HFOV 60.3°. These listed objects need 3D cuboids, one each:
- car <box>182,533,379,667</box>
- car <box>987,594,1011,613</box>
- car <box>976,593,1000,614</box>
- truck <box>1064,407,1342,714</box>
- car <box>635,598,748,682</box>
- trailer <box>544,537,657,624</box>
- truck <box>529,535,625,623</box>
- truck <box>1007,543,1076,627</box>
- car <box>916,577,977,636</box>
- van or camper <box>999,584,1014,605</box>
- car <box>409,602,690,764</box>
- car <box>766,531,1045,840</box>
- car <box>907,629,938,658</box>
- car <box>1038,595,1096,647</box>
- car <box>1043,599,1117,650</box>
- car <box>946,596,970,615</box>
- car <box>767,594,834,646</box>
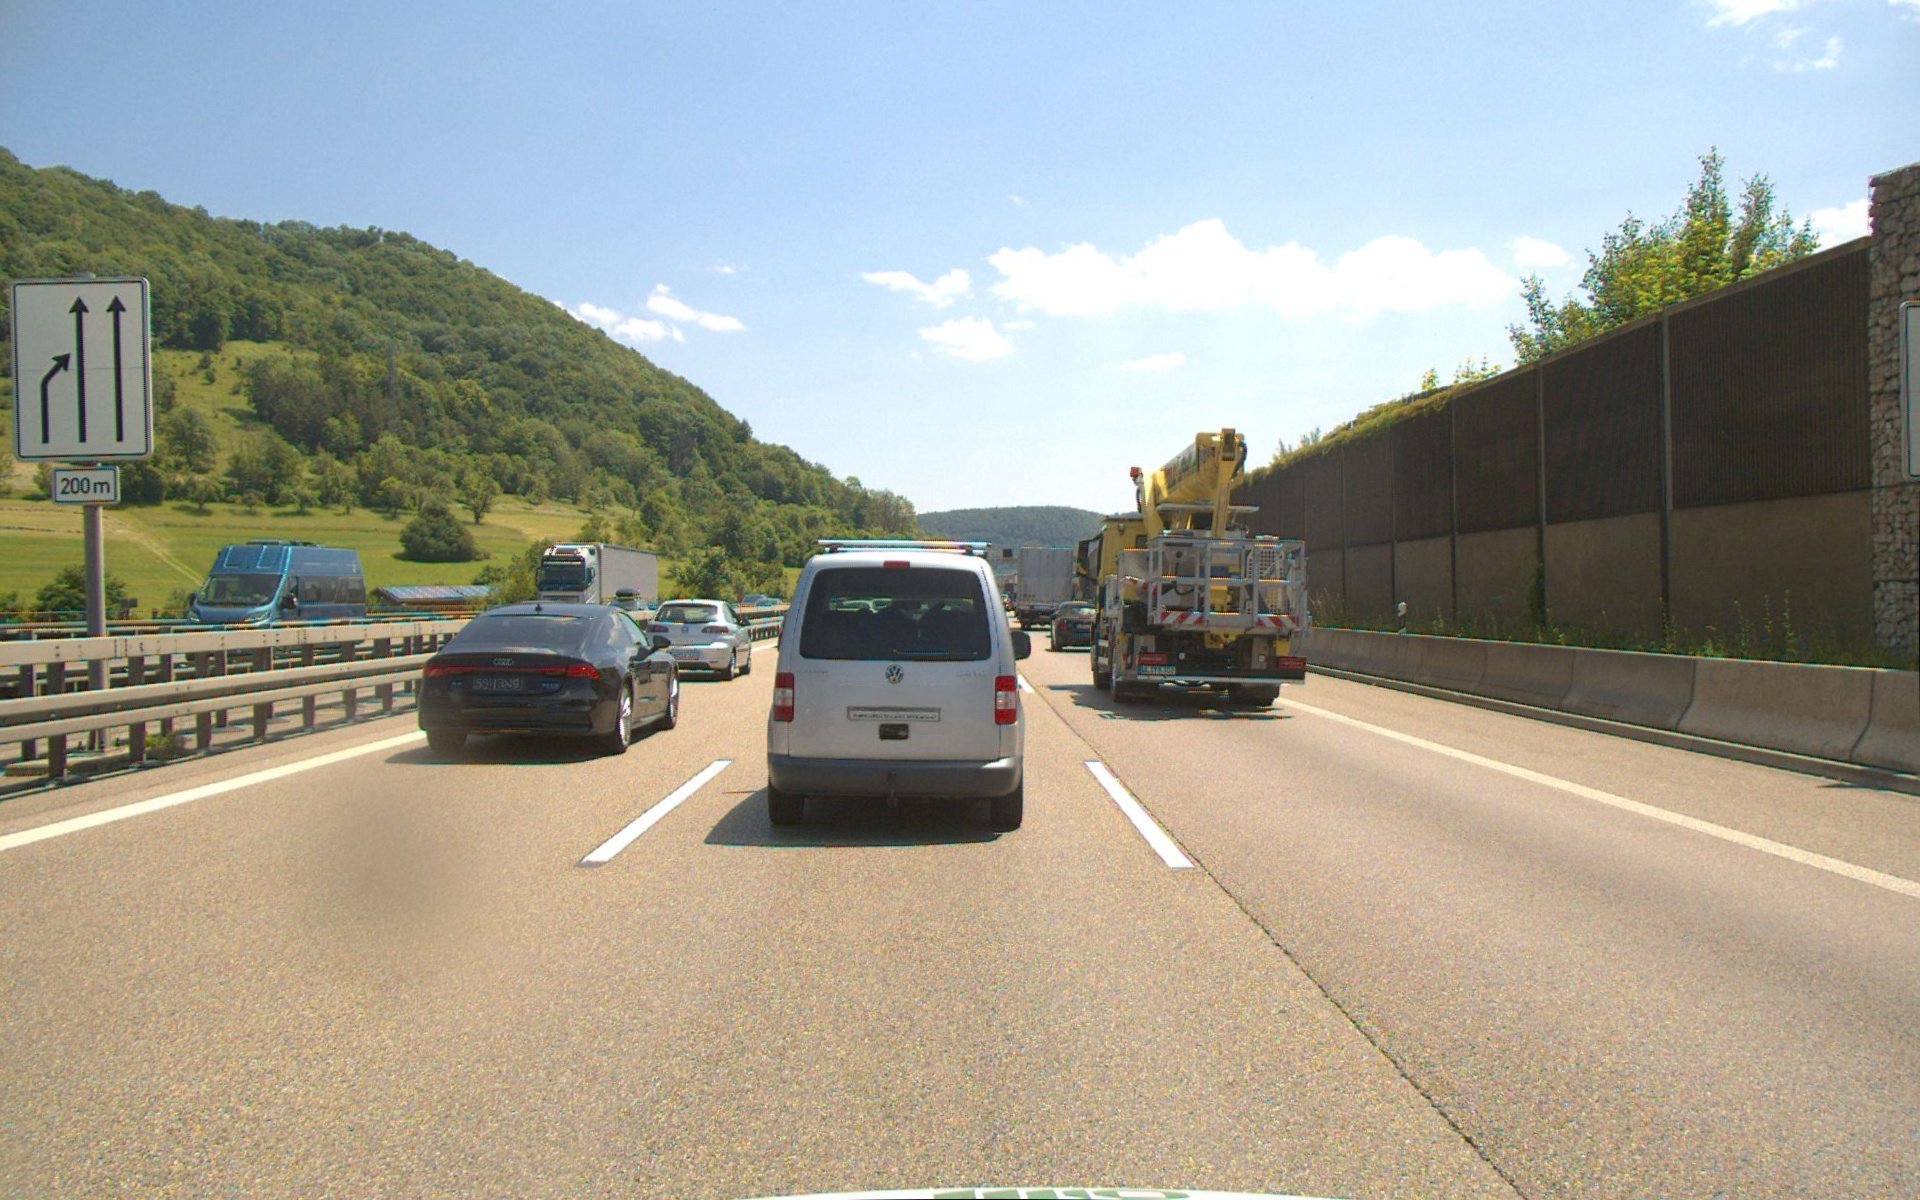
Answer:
[{"bbox_3d":[-16.087,0.033,39.631,2.112,2.912,6.397,1,-1,-1],"label":"car"},{"bbox_3d":[3.954,0.384,169.560,2.072,1.859,3.997,1,-1,-4],"label":"car"},{"bbox_3d":[2.415,0.310,141.997,1.953,1.779,3.999,1,-1,0],"label":"car"},{"bbox_3d":[3.470,-0.518,26.060,2.650,4.011,8.716,0,0,-3],"label":"truck"},{"bbox_3d":[-4.925,0.692,30.762,1.662,1.470,3.860,0,0,-3],"label":"car"},{"bbox_3d":[-19.093,-0.926,88.939,3.180,4.278,12.998,1,0,0],"label":"trailer"},{"bbox_3d":[-19.111,-0.981,82.905,3.211,4.220,6.953,1,0,-1],"label":"truck"},{"bbox_3d":[3.953,-0.676,82.140,2.880,3.890,8.235,1,-1,-1],"label":"truck"},{"bbox_3d":[-0.502,0.218,58.177,1.954,2.010,3.997,0,0,-3],"label":"car"},{"bbox_3d":[6.757,-0.806,239.608,1.953,3.005,5.422,1,-1,0],"label":"van or camper"},{"bbox_3d":[-4.038,0.742,17.125,1.764,1.415,4.968,0,0,-1],"label":"car"},{"bbox_3d":[-0.442,0.522,12.206,1.721,1.900,3.997,0,0,-3],"label":"car"},{"bbox_3d":[-2.612,3.025,115.565,2.071,1.859,3.999,1,-1,-1],"label":"car"},{"bbox_3d":[4.286,0.828,66.884,1.953,2.049,3.998,0,0,-2],"label":"car"},{"bbox_3d":[3.583,0.703,49.922,1.751,1.484,3.768,0,0,-3],"label":"car"},{"bbox_3d":[-0.208,0.563,163.187,2.072,1.859,3.997,1,-1,-4],"label":"car"},{"bbox_3d":[-4.864,0.584,50.927,1.886,1.525,3.997,1,0,-3],"label":"car"}]
